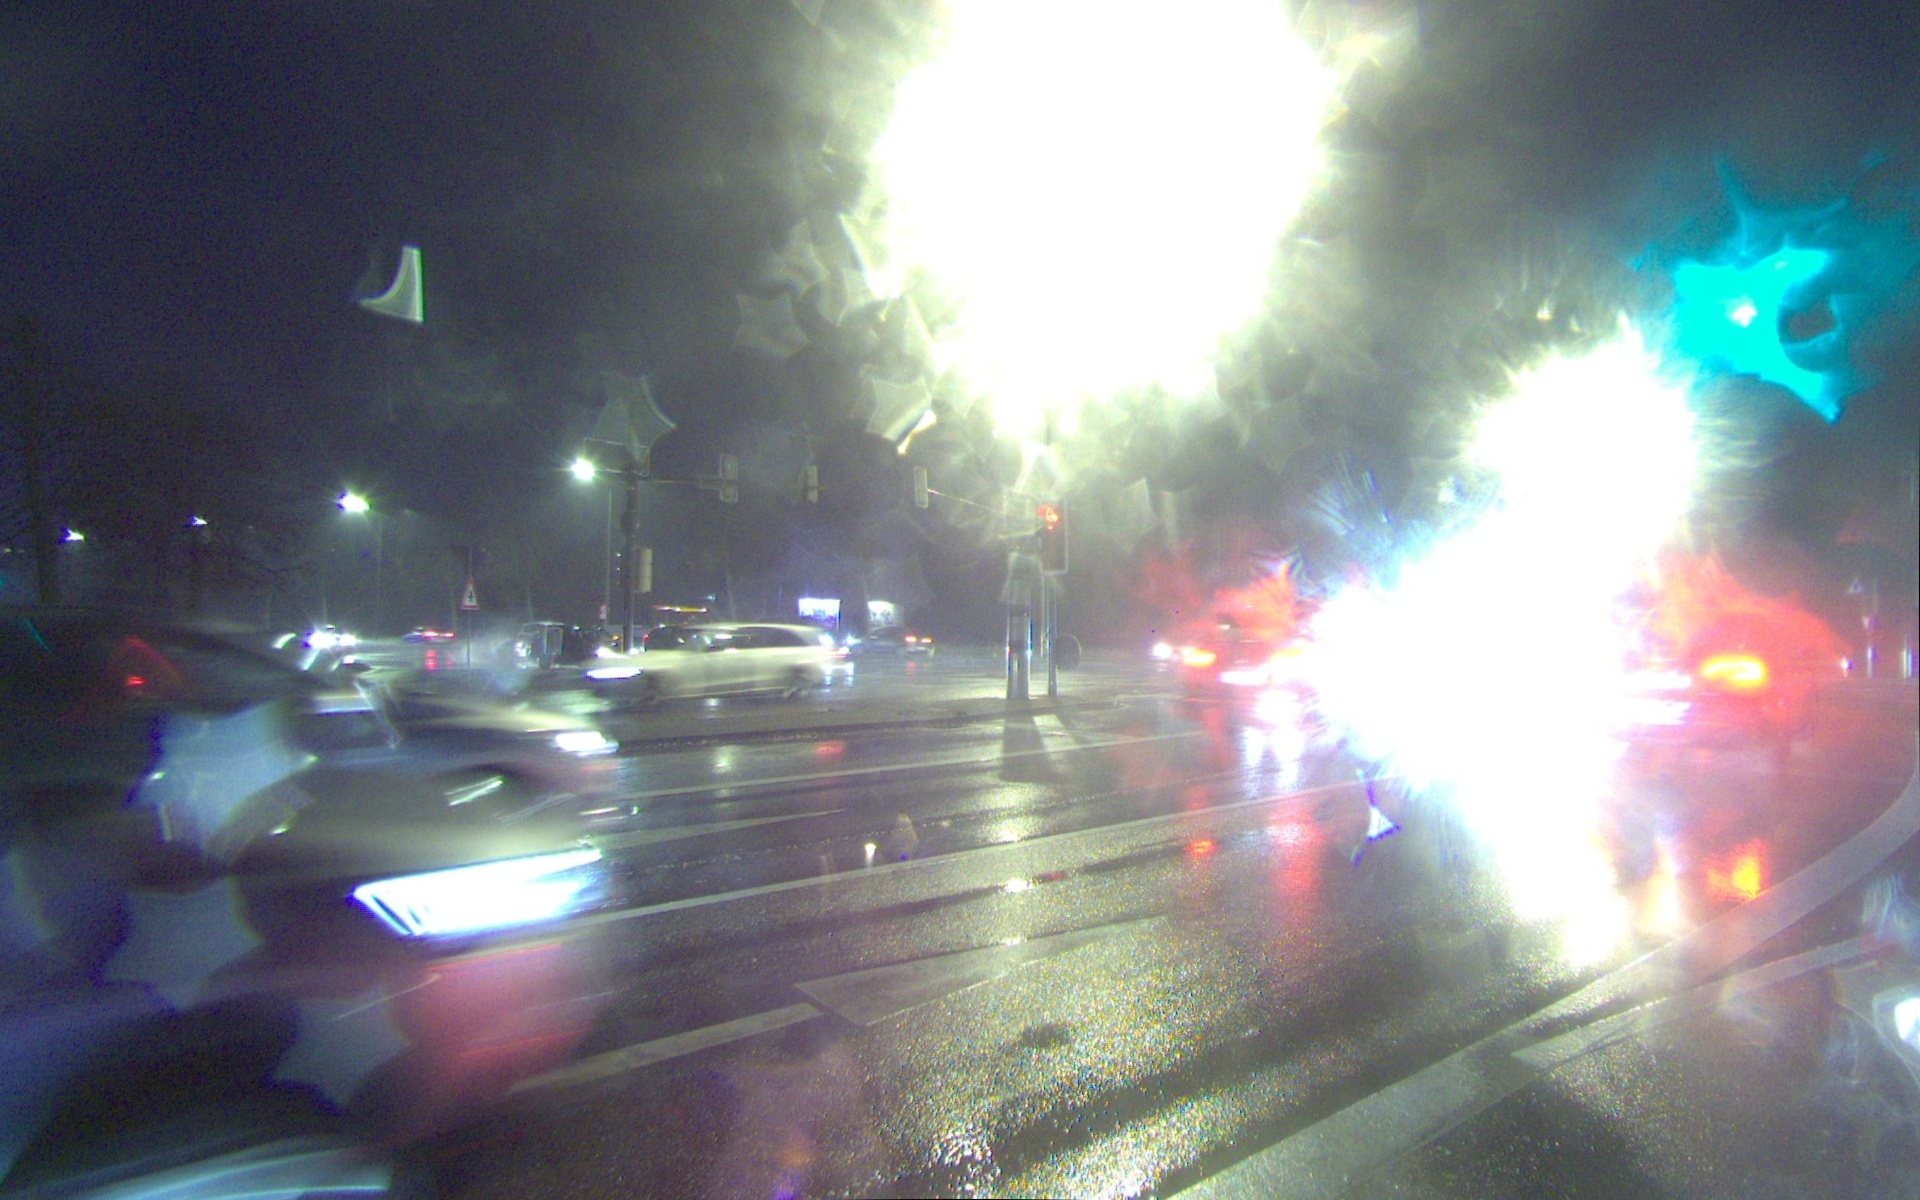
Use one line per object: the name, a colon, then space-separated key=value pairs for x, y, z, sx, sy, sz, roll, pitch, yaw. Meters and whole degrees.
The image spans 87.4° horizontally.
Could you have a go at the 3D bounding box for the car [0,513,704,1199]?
car: x=-2.690 y=0.646 z=1.659 sx=3.987 sy=1.613 sz=1.836 roll=2 pitch=-1 yaw=-38

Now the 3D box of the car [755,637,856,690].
car: x=-6.279 y=2.520 z=40.621 sx=4.080 sy=1.878 sz=1.661 roll=1 pitch=0 yaw=37

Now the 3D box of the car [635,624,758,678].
car: x=-9.206 y=1.724 z=34.973 sx=4.191 sy=1.654 sz=1.951 roll=1 pitch=0 yaw=37

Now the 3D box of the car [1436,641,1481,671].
car: x=32.741 y=3.652 z=65.925 sx=1.748 sy=1.795 sz=3.981 roll=1 pitch=-1 yaw=40

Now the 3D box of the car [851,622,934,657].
car: x=-3.256 y=1.878 z=48.738 sx=3.641 sy=1.540 sz=1.714 roll=1 pitch=0 yaw=27

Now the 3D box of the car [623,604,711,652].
car: x=-13.464 y=1.250 z=46.074 sx=4.080 sy=2.051 sz=1.787 roll=1 pitch=0 yaw=37

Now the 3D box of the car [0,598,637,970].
car: x=-3.987 y=0.741 z=4.910 sx=4.252 sy=1.455 sz=1.723 roll=2 pitch=-1 yaw=-38

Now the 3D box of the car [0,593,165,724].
car: x=-14.403 y=0.817 z=14.282 sx=4.751 sy=1.816 sz=2.010 roll=1 pitch=-1 yaw=-43

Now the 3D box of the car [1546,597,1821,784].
car: x=8.327 y=0.848 z=11.386 sx=4.450 sy=1.675 sz=1.809 roll=1 pitch=1 yaw=-45

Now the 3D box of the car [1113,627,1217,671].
car: x=9.061 y=2.163 z=44.733 sx=4.210 sy=1.740 sz=1.933 roll=1 pitch=0 yaw=0

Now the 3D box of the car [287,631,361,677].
car: x=-32.260 y=2.677 z=50.893 sx=3.931 sy=2.107 sz=1.659 roll=1 pitch=0 yaw=33

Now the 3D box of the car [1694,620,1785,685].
car: x=19.894 y=1.307 z=25.581 sx=1.679 sy=1.482 sz=4.294 roll=0 pitch=-2 yaw=40

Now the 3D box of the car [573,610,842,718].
car: x=-4.527 y=1.111 z=18.375 sx=4.423 sy=1.743 sz=1.885 roll=2 pitch=-3 yaw=-40

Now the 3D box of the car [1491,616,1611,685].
car: x=13.736 y=1.135 z=23.256 sx=1.637 sy=1.464 sz=3.771 roll=0 pitch=-2 yaw=43

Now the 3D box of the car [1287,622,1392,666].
car: x=14.176 y=1.582 z=37.336 sx=1.906 sy=1.482 sz=4.759 roll=1 pitch=0 yaw=44

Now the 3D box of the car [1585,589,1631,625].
car: x=39.750 y=0.432 z=61.575 sx=1.756 sy=2.106 sz=3.978 roll=2 pitch=0 yaw=42

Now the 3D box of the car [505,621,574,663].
car: x=-21.757 y=2.141 z=51.939 sx=3.551 sy=1.964 sz=1.707 roll=1 pitch=-1 yaw=36

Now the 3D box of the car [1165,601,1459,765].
car: x=4.434 y=0.918 z=12.352 sx=3.961 sy=1.680 sz=1.890 roll=3 pitch=-2 yaw=-45
